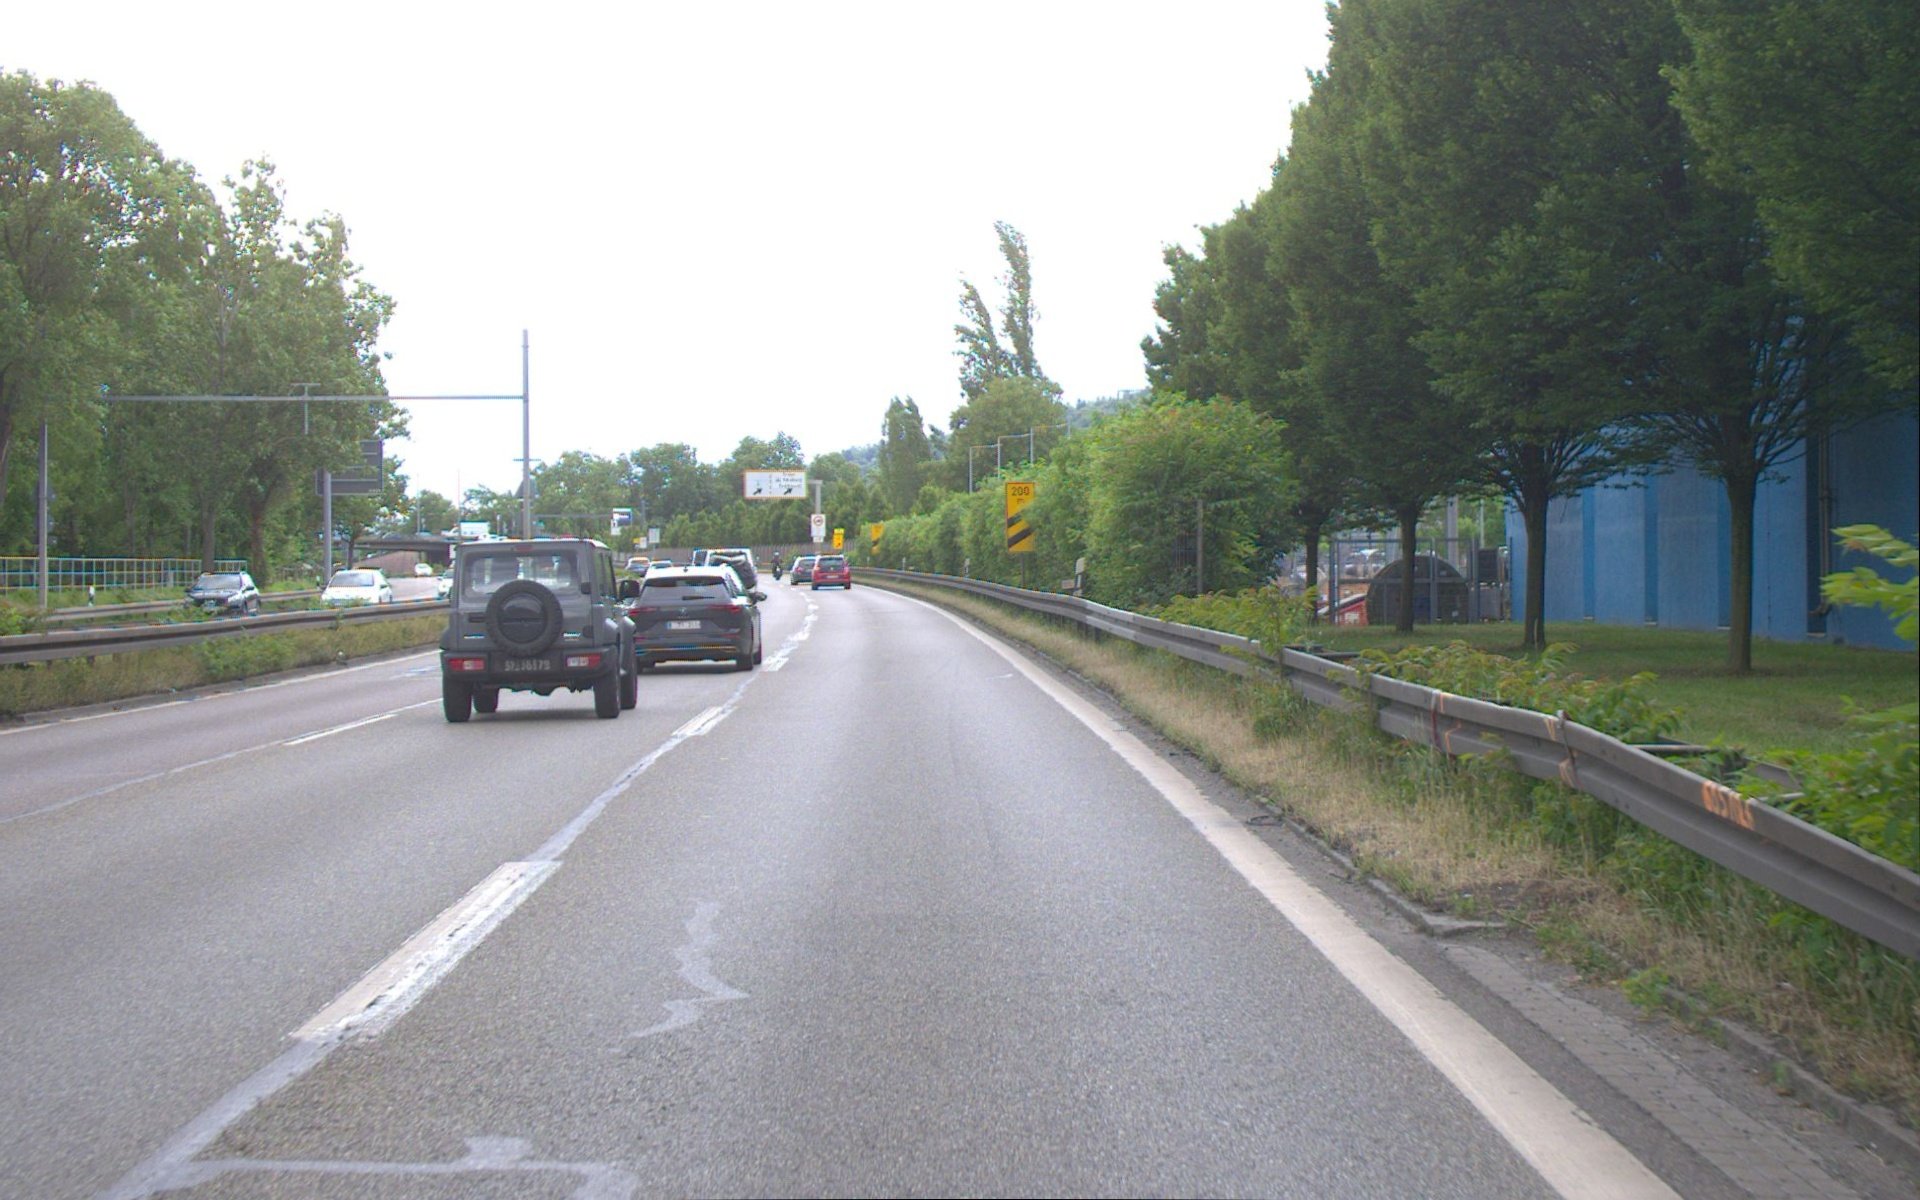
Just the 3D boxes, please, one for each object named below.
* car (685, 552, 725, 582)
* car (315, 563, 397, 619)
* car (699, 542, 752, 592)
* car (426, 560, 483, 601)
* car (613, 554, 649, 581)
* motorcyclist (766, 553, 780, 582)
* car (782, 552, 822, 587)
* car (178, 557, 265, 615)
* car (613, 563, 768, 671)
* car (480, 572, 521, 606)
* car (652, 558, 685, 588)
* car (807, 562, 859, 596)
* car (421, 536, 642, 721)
[{"bbox_3d":[-16.819,-2.146,226.210,2.013,1.927,4.902,-2,1,-11],"label":"car"},{"bbox_3d":[-18.476,-0.291,105.278,1.697,1.599,4.538,-3,1,-1],"label":"car"},{"bbox_3d":[-8.321,-1.170,122.346,1.697,1.736,4.000,-1,1,-2],"label":"car"},{"bbox_3d":[-21.761,-0.865,148.001,1.866,1.669,4.719,-2,1,-2],"label":"car"},{"bbox_3d":[-23.911,-2.339,249.814,2.013,1.927,4.902,-2,1,-12],"label":"car"},{"bbox_3d":[-11.492,-1.989,211.121,0.791,1.754,0.923,0,1,-7],"label":"motorcyclist"},{"bbox_3d":[-8.097,-1.563,176.048,1.697,1.736,4.394,-1,1,-7],"label":"car"},{"bbox_3d":[-22.063,-0.430,102.829,1.726,1.599,4.042,-3,1,-1],"label":"car"},{"bbox_3d":[-3.710,0.199,47.976,1.845,1.418,4.901,0,1,-1],"label":"car"},{"bbox_3d":[-24.453,-0.604,183.008,1.726,1.769,3.742,-1,1,-1],"label":"car"},{"bbox_3d":[-17.524,-1.622,206.558,1.697,1.736,4.394,-2,1,-7],"label":"car"},{"bbox_3d":[-5.703,-0.954,153.620,1.974,1.418,4.901,-2,1,-6],"label":"car"},{"bbox_3d":[-4.080,0.221,33.275,1.697,1.680,4.000,0,1,-1],"label":"car"}]
